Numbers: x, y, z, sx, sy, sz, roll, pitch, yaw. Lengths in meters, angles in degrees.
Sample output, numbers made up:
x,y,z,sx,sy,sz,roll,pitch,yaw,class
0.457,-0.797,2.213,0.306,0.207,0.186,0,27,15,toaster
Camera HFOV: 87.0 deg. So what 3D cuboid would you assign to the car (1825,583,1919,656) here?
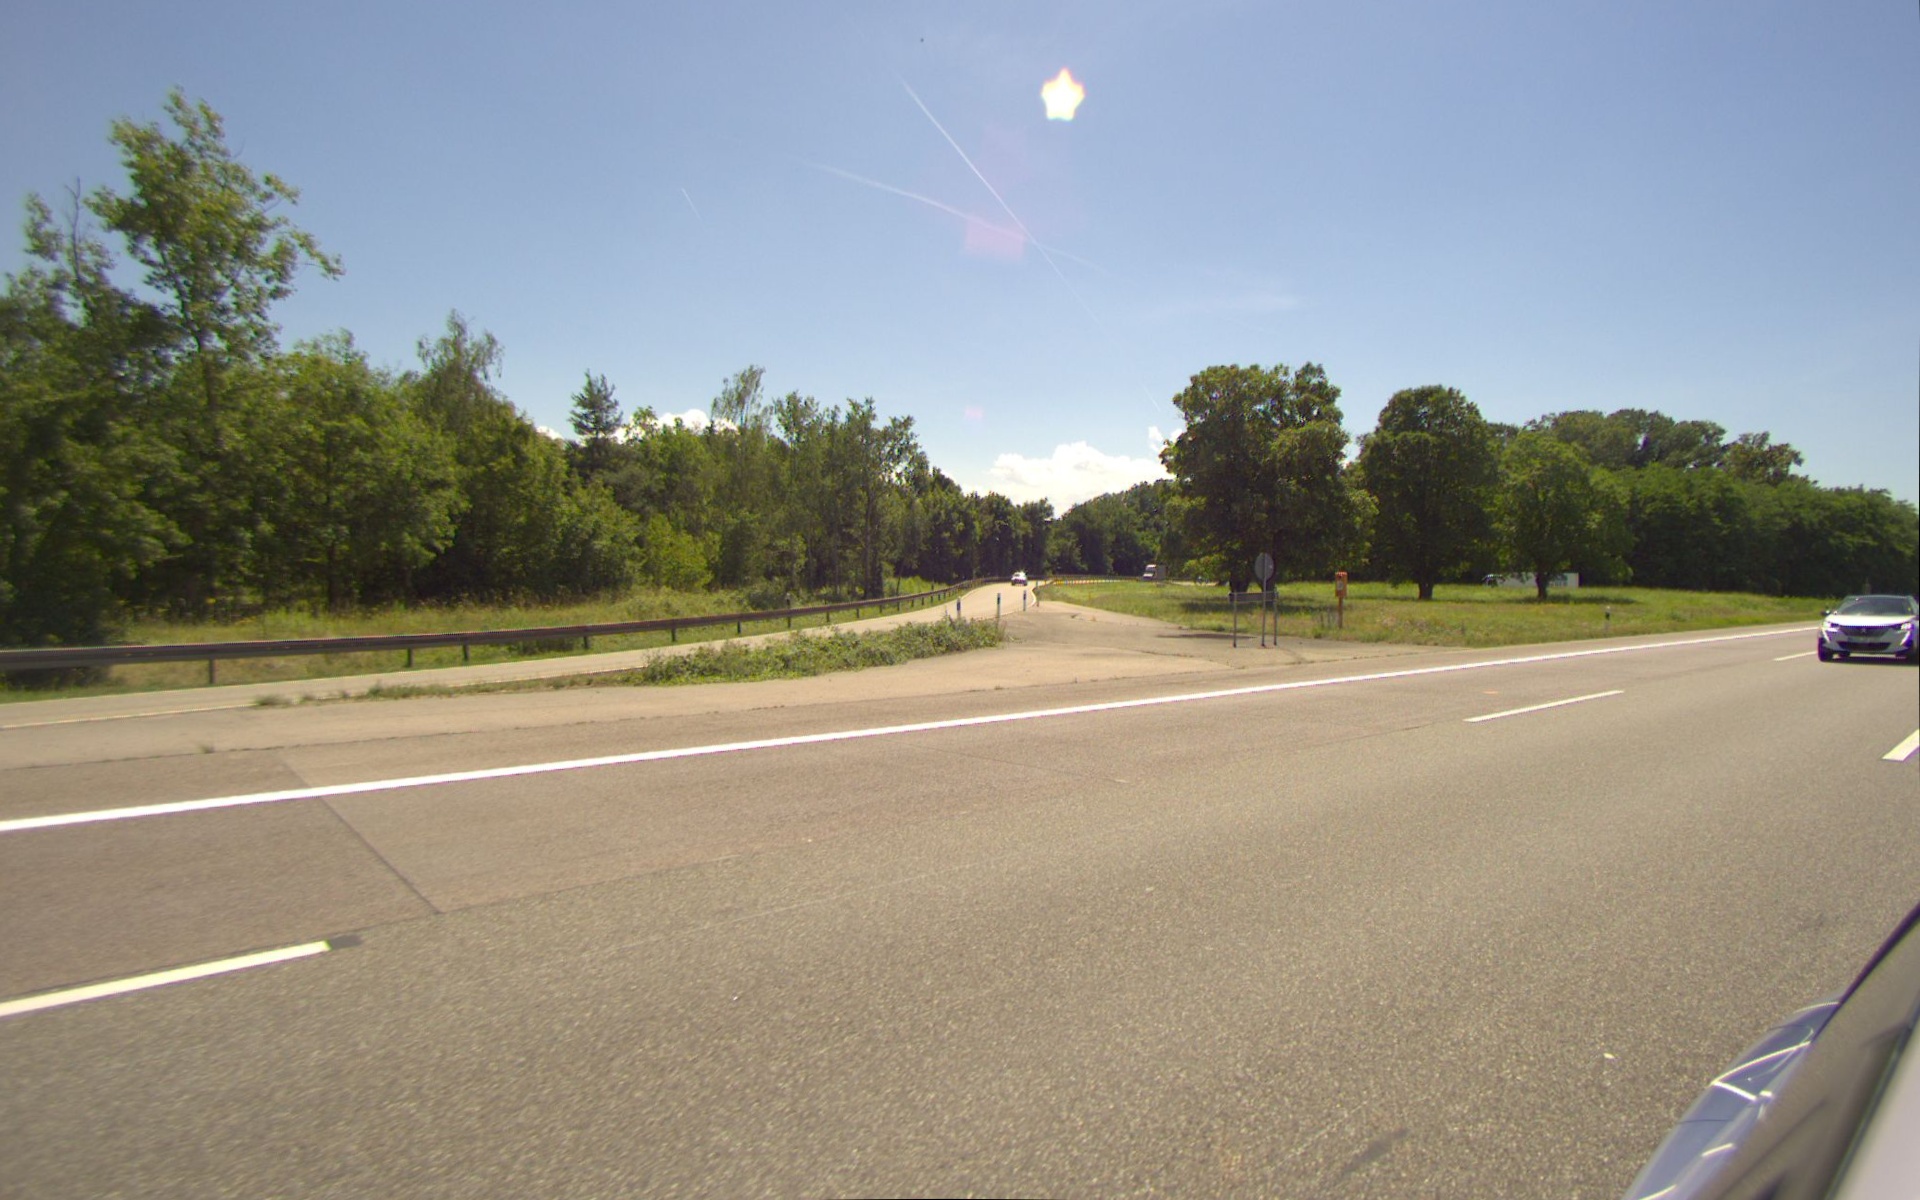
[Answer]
x,y,z,sx,sy,sz,roll,pitch,yaw,class
21.999,0.404,23.893,3.930,1.594,1.844,-1,1,-41,car
